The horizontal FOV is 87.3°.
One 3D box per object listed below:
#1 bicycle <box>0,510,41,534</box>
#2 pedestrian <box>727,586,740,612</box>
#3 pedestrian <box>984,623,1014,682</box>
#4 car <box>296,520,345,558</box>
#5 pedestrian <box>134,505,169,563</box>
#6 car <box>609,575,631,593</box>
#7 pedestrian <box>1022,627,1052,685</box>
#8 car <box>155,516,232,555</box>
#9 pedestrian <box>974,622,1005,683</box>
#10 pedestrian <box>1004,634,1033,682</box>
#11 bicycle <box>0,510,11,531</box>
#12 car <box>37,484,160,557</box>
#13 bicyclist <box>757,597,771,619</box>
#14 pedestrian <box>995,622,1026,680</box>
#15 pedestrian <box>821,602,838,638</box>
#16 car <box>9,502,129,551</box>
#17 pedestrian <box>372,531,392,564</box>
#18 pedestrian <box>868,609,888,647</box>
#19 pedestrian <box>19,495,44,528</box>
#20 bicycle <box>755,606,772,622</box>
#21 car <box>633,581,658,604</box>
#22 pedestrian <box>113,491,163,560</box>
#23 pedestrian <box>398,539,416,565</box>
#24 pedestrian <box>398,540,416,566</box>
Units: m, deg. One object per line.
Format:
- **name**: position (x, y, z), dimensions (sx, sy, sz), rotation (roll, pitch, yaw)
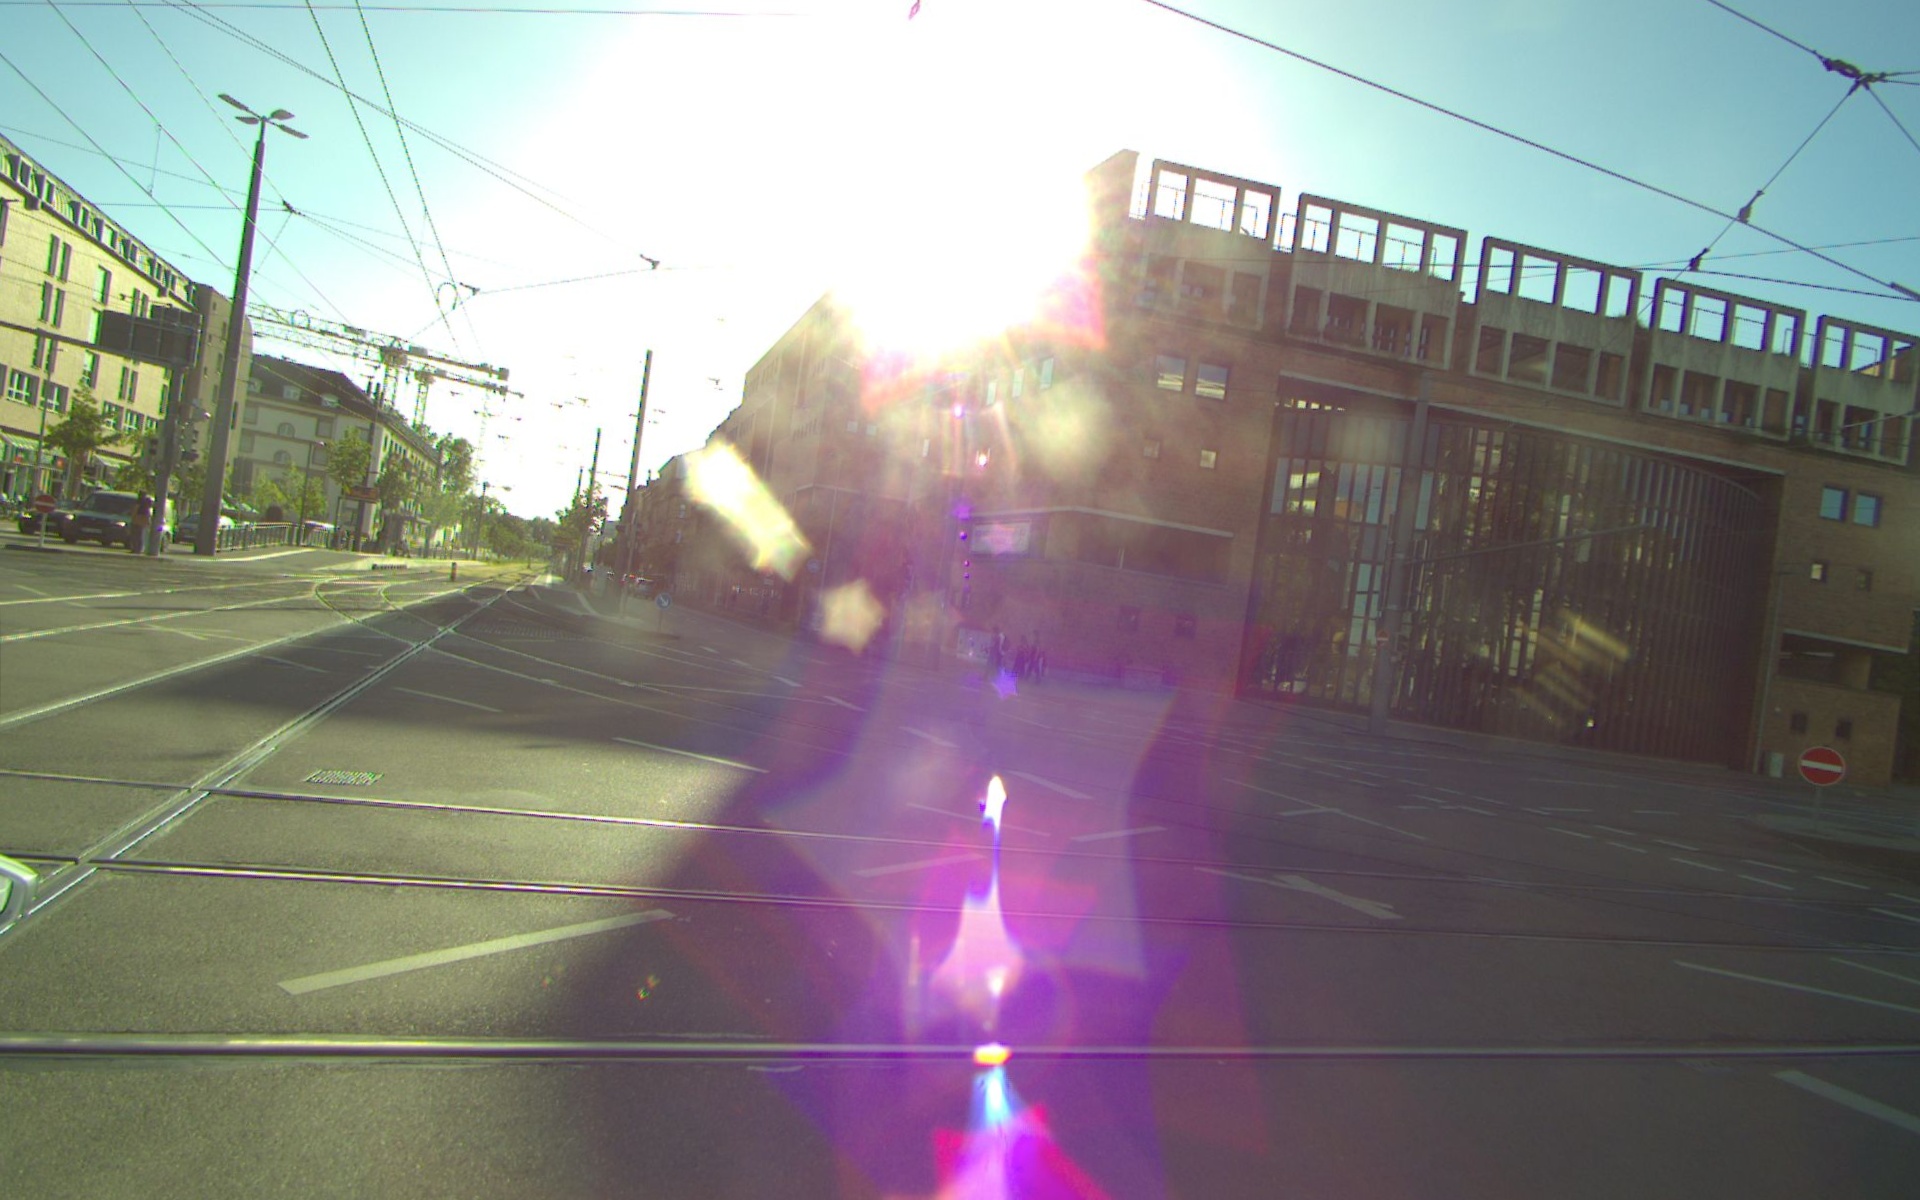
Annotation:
- **bicycle**: position (-46.021, -3.812, 48.856), dimensions (2.007, 0.931, 0.482), rotation (8, 0, -12)
- **pedestrian**: position (-16.693, -0.074, 74.184), dimensions (0.633, 1.807, 0.685), rotation (7, 0, -21)
- **pedestrian**: position (1.247, 1.671, 32.082), dimensions (0.567, 1.807, 0.545), rotation (7, 0, -30)
- **car**: position (-59.935, -5.661, 94.447), dimensions (2.355, 3.034, 8.420), rotation (8, -1, -24)
- **pedestrian**: position (-23.418, -1.913, 29.159), dimensions (0.577, 1.595, 0.640), rotation (8, -1, -35)
- **car**: position (-32.358, -1.509, 95.596), dimensions (1.654, 1.470, 3.680), rotation (8, -1, -21)
- **pedestrian**: position (2.502, 1.814, 32.731), dimensions (0.567, 1.807, 0.545), rotation (7, 0, -30)
- **car**: position (-36.840, -3.072, 48.464), dimensions (1.820, 1.466, 4.276), rotation (7, -1, -23)
- **pedestrian**: position (0.925, 1.645, 31.418), dimensions (0.567, 1.807, 0.545), rotation (7, 0, -30)
- **pedestrian**: position (1.933, 1.914, 33.403), dimensions (0.545, 1.495, 0.567), rotation (8, 0, -39)
- **bicycle**: position (-46.102, -3.886, 47.383), dimensions (2.007, 0.931, 0.482), rotation (8, 0, -12)
- **car**: position (-27.130, -2.432, 31.835), dimensions (1.822, 1.858, 4.082), rotation (7, -1, -26)
- **bicyclist**: position (-12.913, 0.512, 66.121), dimensions (0.639, 1.355, 0.650), rotation (8, -1, -20)
- **pedestrian**: position (1.636, 1.653, 32.652), dimensions (0.567, 1.807, 0.545), rotation (7, 0, -30)
- **pedestrian**: position (-6.861, 1.033, 53.002), dimensions (0.541, 1.808, 0.570), rotation (8, 2, -19)
- **car**: position (-31.398, -2.536, 35.598), dimensions (1.821, 1.283, 4.207), rotation (7, -1, -23)
- **pedestrian**: position (-36.022, -3.291, 62.701), dimensions (0.855, 1.909, 0.731), rotation (9, 0, -32)
- **pedestrian**: position (-4.173, 1.429, 51.258), dimensions (0.633, 1.807, 0.686), rotation (7, 0, -19)
- **pedestrian**: position (-52.575, -5.008, 56.986), dimensions (0.708, 1.785, 0.563), rotation (7, 0, -19)
- **bicycle**: position (-12.915, 0.928, 65.969), dimensions (0.641, 0.915, 2.336), rotation (8, -2, -20)
- **car**: position (-24.104, -0.608, 77.118), dimensions (1.543, 1.473, 3.417), rotation (8, -1, -20)
- **pedestrian**: position (-22.506, -2.030, 27.557), dimensions (0.713, 1.747, 0.592), rotation (8, 0, -21)
- **pedestrian**: position (-39.121, -3.383, 71.127), dimensions (0.855, 1.690, 0.778), rotation (9, 0, -32)
- **pedestrian**: position (-38.722, -3.268, 70.447), dimensions (0.855, 1.690, 0.731), rotation (9, 0, -32)
